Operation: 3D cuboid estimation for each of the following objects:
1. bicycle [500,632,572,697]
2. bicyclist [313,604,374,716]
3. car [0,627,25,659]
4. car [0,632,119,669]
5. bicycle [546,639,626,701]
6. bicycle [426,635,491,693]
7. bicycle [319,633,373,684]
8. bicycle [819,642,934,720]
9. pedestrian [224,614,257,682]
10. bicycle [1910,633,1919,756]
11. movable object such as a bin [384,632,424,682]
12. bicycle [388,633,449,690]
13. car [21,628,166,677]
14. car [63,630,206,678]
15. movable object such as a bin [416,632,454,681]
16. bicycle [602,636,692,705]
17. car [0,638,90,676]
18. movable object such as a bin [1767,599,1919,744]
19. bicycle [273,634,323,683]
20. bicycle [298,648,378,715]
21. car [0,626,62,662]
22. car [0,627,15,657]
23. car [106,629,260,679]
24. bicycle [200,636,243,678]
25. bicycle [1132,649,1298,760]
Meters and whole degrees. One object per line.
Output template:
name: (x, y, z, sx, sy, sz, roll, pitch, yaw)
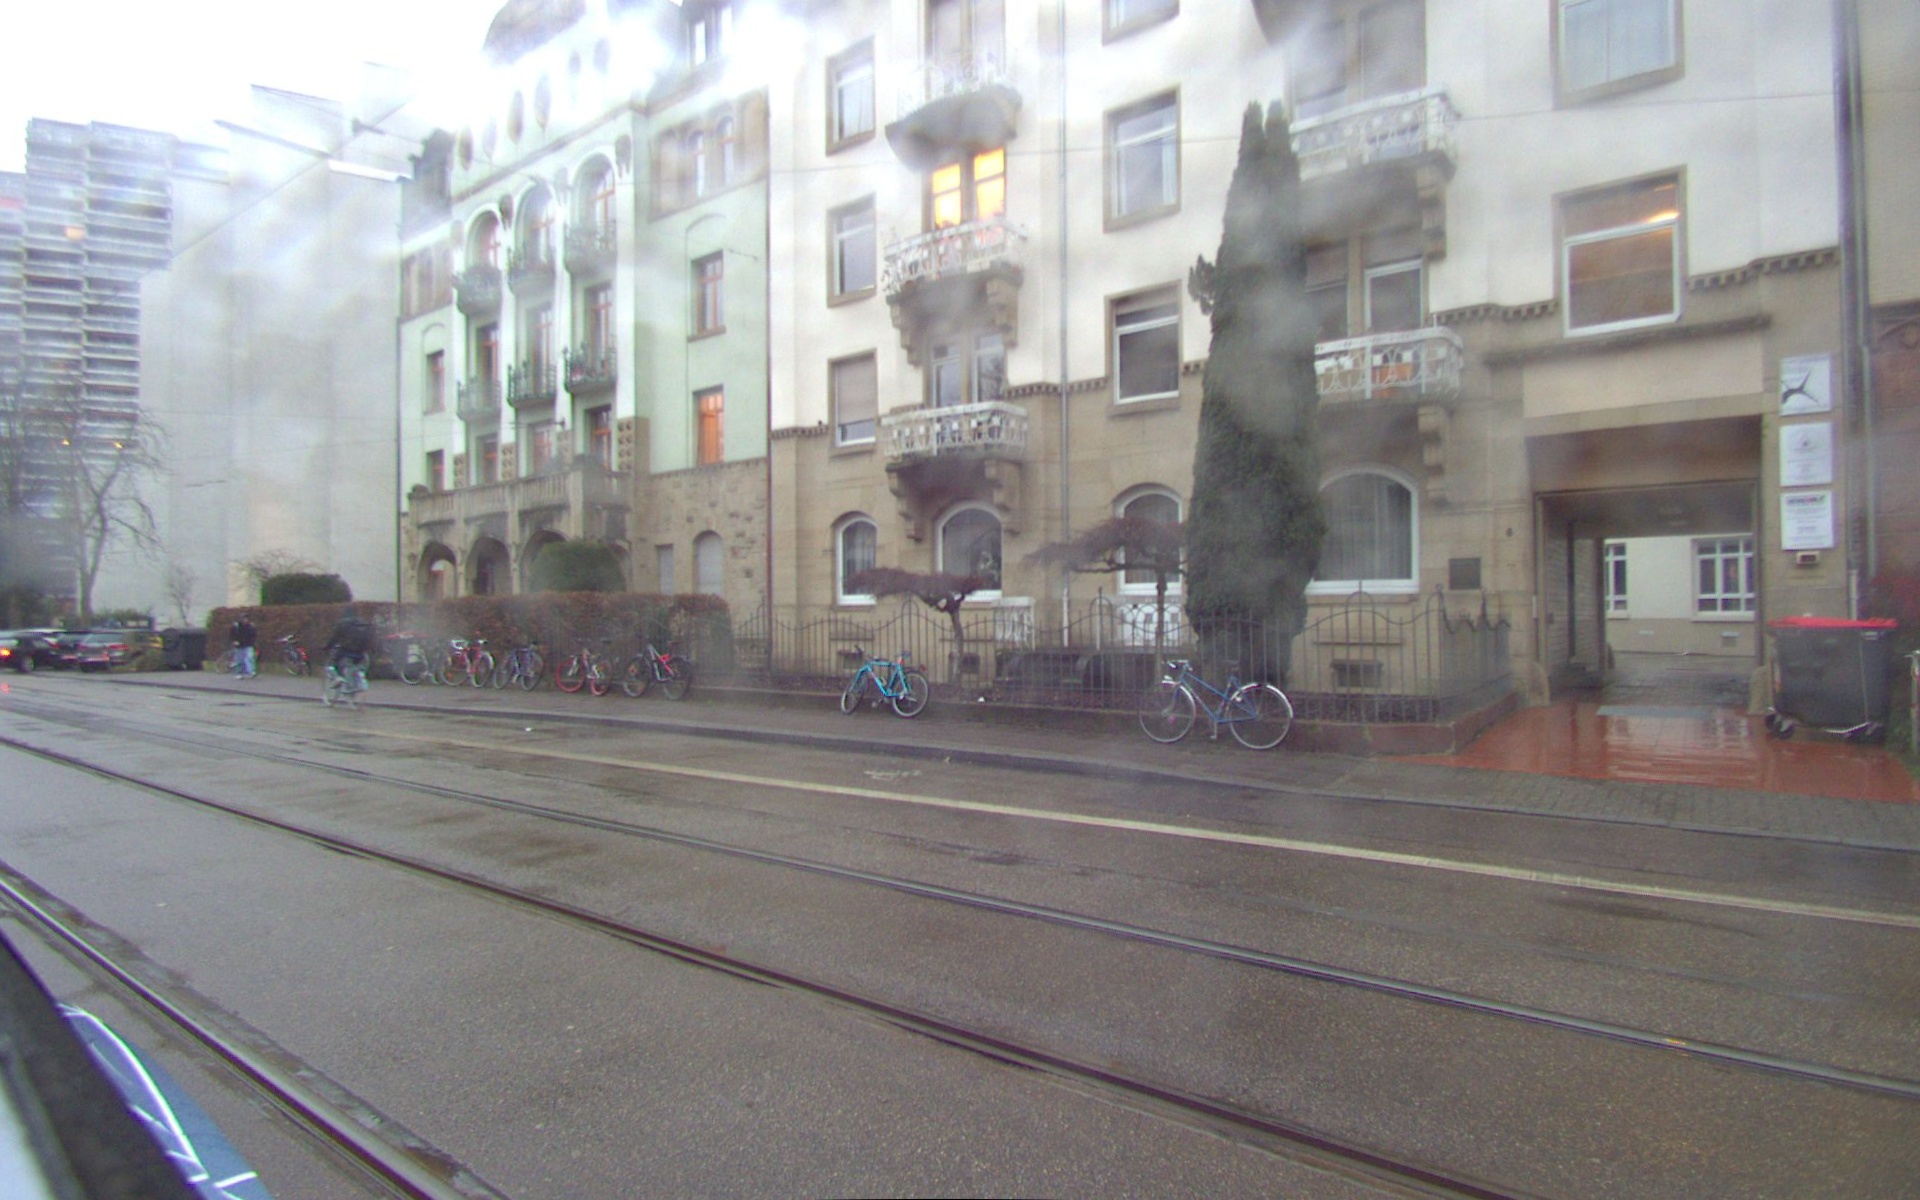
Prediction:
bicycle: (-8.288, 1.237, 19.755, 1.661, 1.221, 0.617, -2, -2, 40)
bicyclist: (-10.776, 1.036, 17.687, 0.990, 1.891, 0.617, -2, -2, 40)
car: (-49.967, 2.226, 51.102, 1.843, 1.608, 3.999, -1, -1, 0)
car: (-39.310, 2.167, 44.197, 1.843, 1.460, 3.999, -1, -1, 0)
bicycle: (-6.908, 1.269, 18.670, 1.725, 1.073, 0.617, -2, -2, 40)
bicycle: (-10.569, 1.319, 21.312, 1.661, 1.173, 0.617, -2, -2, 40)
bicycle: (-15.199, 1.435, 25.040, 1.661, 1.221, 0.617, -2, -2, 40)
bicycle: (-1.193, 1.113, 14.256, 1.661, 1.010, 0.617, -2, -2, 40)
pedestrian: (-18.825, 1.246, 26.475, 0.644, 1.738, 0.567, 0, 1, 41)
bicycle: (8.704, 0.899, 8.597, 0.694, 1.114, 2.326, -2, 1, 38)
movable object such as a bin: (-13.515, 1.379, 24.602, 0.674, 1.173, 0.651, -2, -2, 40)
bicycle: (-12.101, 1.345, 22.589, 1.661, 1.221, 0.617, -2, -2, 40)
car: (-31.275, 1.842, 36.702, 1.843, 1.608, 3.999, -1, -1, 0)
car: (-28.647, 1.832, 35.292, 1.740, 1.497, 3.999, -1, -1, 0)
movable object such as a bin: (-13.056, 1.398, 25.170, 0.674, 1.173, 0.617, -2, -2, 40)
bicycle: (-5.419, 1.190, 17.494, 1.781, 1.134, 0.617, -2, -2, 40)
car: (-33.196, 1.990, 35.824, 1.687, 1.262, 3.666, 0, -2, -1)
movable object such as a bin: (9.382, 0.722, 10.797, 1.166, 1.390, 1.092, -2, 1, 39)
bicycle: (-17.246, 1.497, 26.356, 1.661, 1.221, 0.617, -2, -2, 40)
bicycle: (-10.996, 1.408, 17.858, 1.946, 1.101, 0.617, -2, -2, 40)
car: (-44.637, 2.055, 47.287, 1.843, 1.608, 3.999, -1, -1, 0)
car: (-52.375, 2.271, 53.087, 1.843, 1.608, 3.999, -1, -1, 0)
car: (-26.114, 1.771, 34.187, 1.847, 1.505, 3.989, -1, -1, 8)
bicycle: (-21.575, 1.643, 29.564, 1.661, 1.173, 0.617, -2, -1, 40)
bicycle: (2.781, 1.108, 11.153, 1.661, 1.101, 0.617, -2, -2, 40)
